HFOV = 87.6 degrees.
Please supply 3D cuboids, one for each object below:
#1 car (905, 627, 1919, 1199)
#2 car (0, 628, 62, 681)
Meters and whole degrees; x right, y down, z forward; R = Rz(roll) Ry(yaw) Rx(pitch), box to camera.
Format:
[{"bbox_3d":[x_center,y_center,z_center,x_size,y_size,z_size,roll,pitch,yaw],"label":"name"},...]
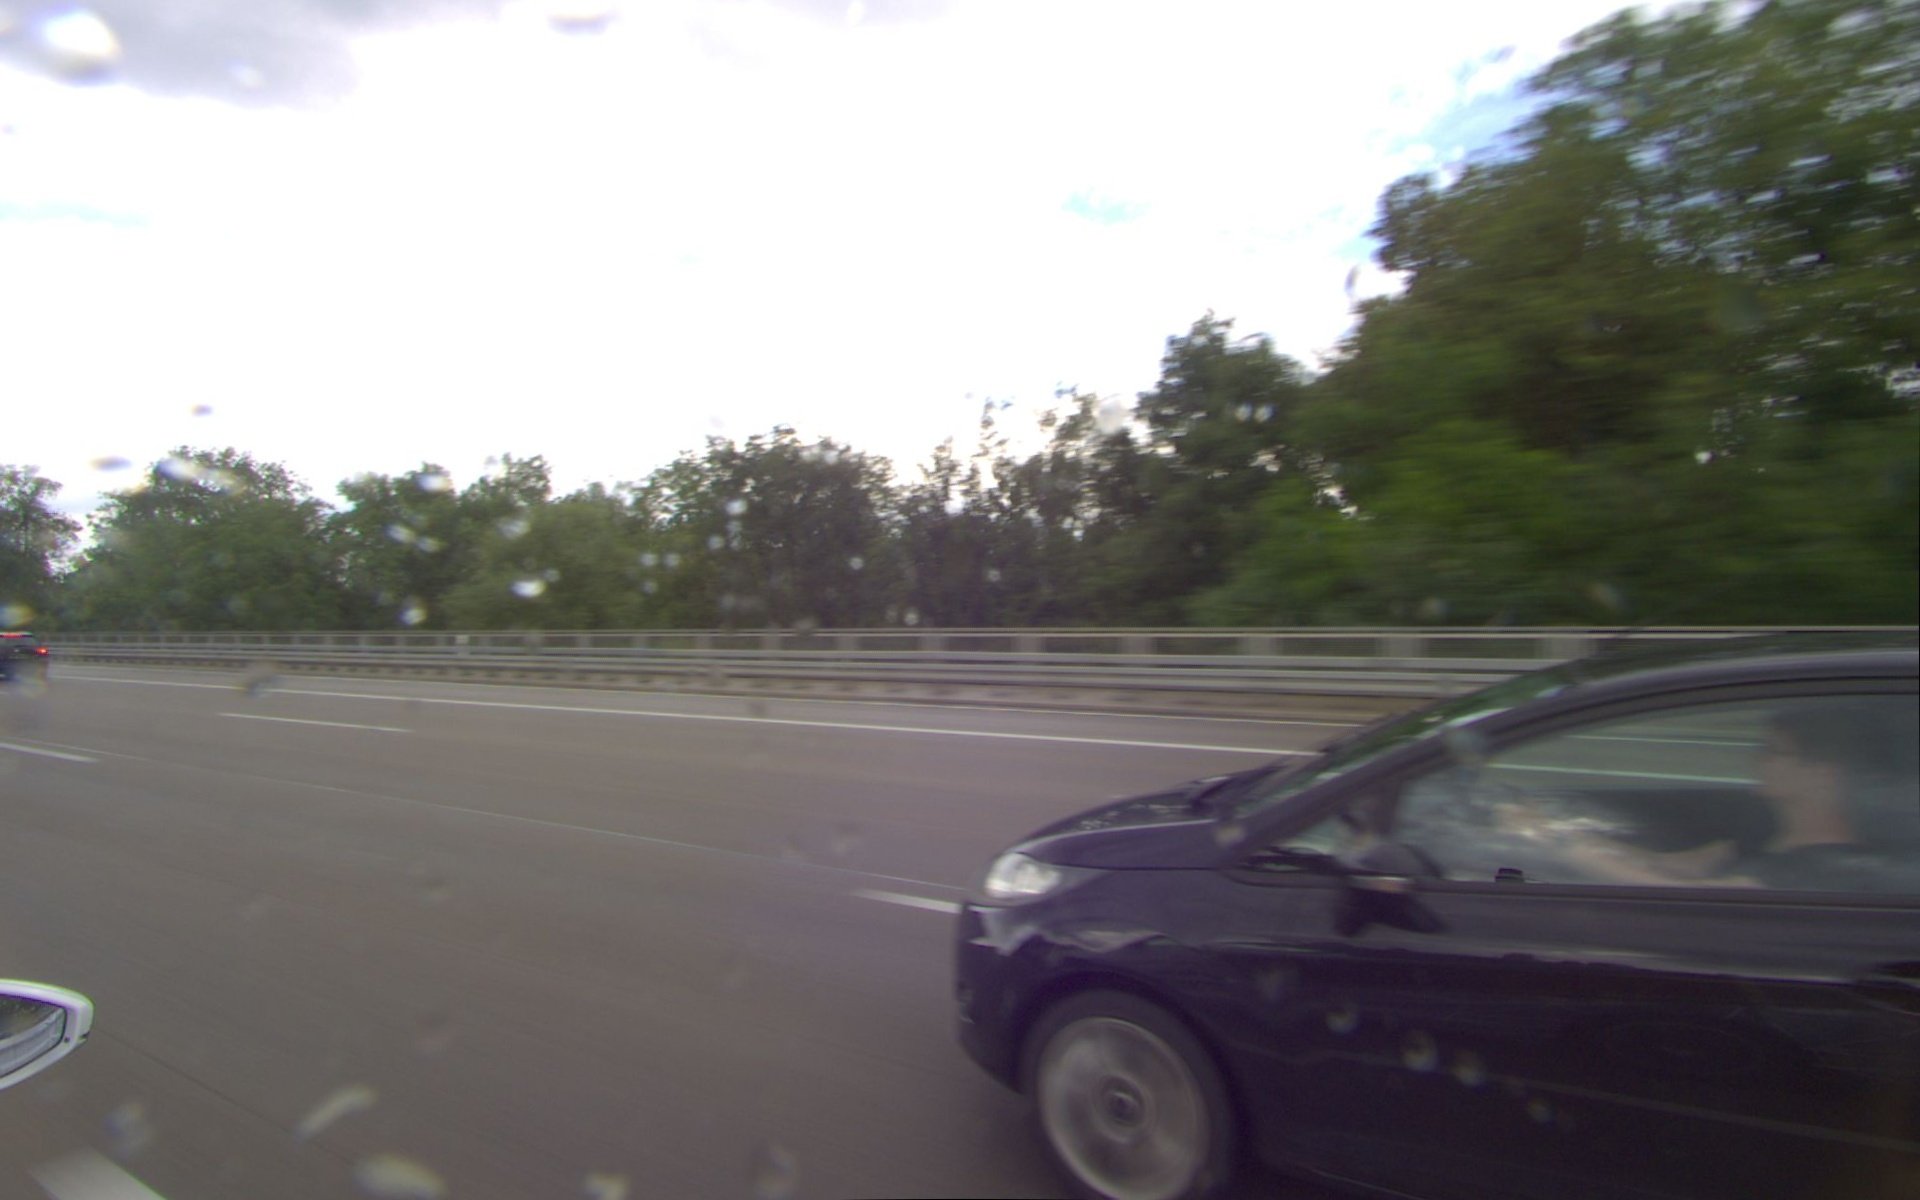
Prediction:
[{"bbox_3d":[2.127,0.803,2.298,4.340,1.458,1.661,-1,-1,31],"label":"car"},{"bbox_3d":[-30.207,1.667,31.477,4.295,1.563,1.812,-1,-1,32],"label":"car"}]
